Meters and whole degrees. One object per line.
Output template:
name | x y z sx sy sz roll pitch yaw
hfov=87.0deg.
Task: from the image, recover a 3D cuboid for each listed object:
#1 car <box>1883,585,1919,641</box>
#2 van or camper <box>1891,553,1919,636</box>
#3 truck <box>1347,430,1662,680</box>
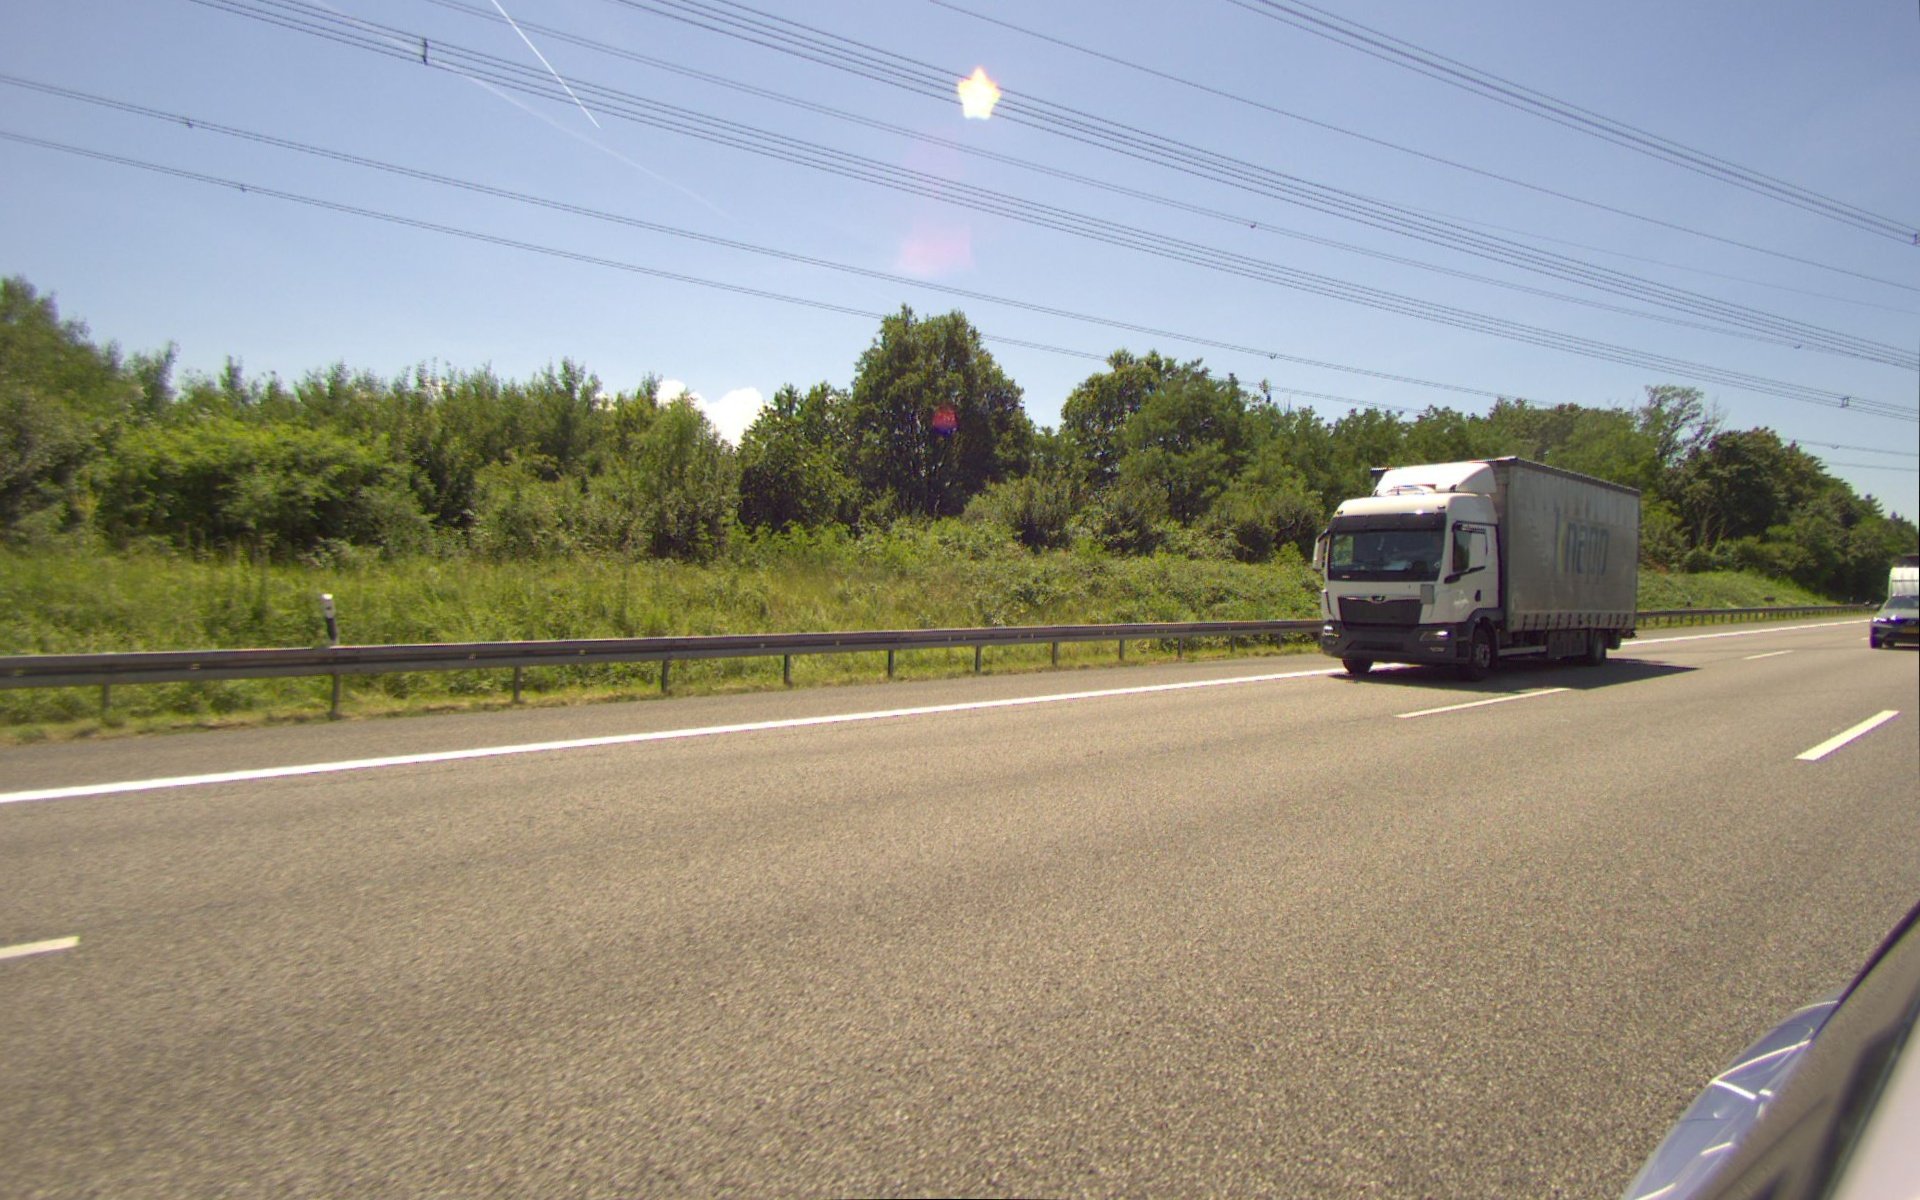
car | 27.886 0.349 28.910 4.033 1.548 1.786 0 1 -41
van or camper | 31.816 -0.178 32.291 6.320 2.528 2.410 0 1 -41
truck | 10.861 -0.730 19.458 9.867 3.819 1.986 0 1 -41
